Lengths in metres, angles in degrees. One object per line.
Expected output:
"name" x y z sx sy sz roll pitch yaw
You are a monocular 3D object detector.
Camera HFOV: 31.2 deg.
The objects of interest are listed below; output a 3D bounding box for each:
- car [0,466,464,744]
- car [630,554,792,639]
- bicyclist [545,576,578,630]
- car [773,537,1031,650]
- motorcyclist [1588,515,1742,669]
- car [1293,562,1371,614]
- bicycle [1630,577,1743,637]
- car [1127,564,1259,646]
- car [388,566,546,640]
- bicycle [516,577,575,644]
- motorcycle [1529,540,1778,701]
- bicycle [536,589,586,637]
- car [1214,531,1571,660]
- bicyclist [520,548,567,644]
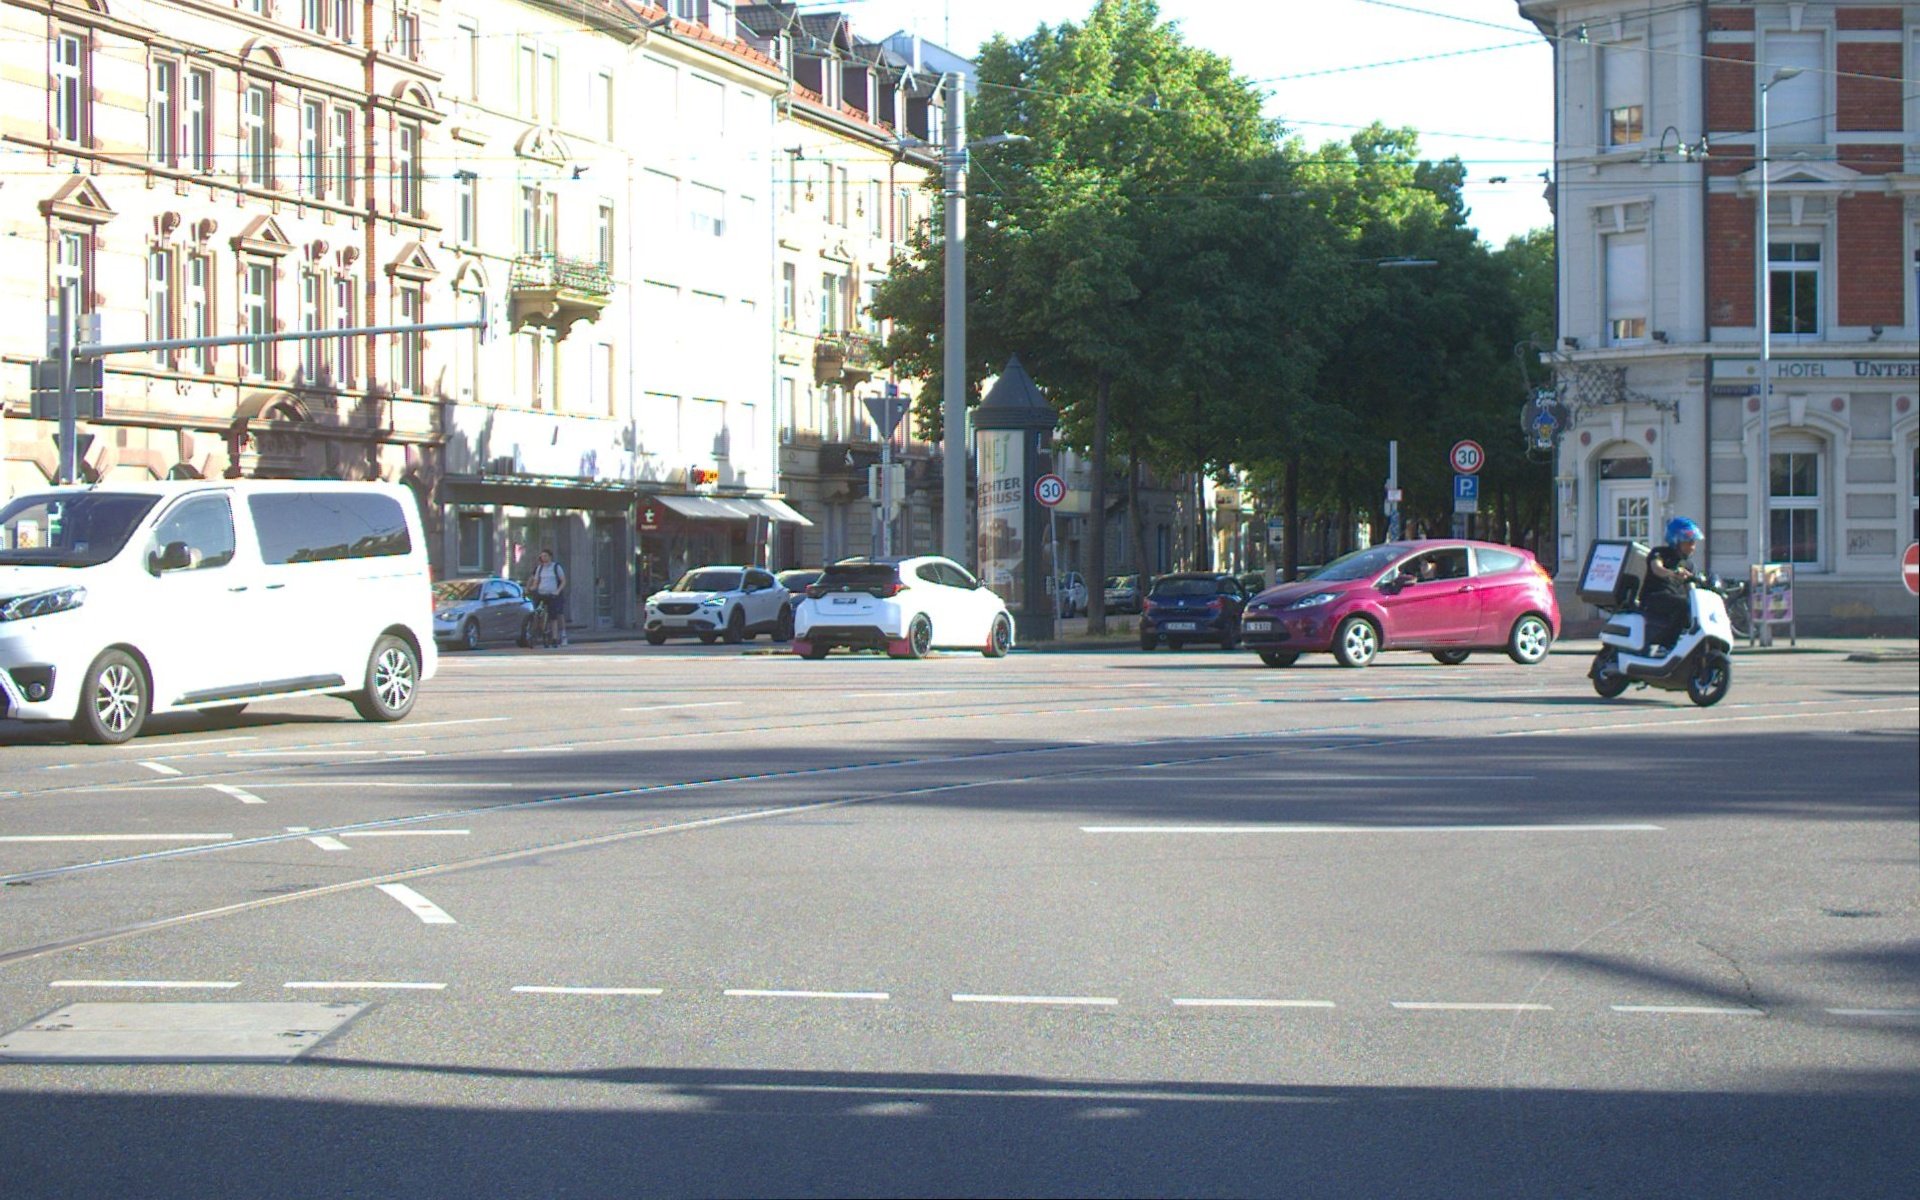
"car" -6.055 -0.030 25.644 1.996 1.847 5.208 2 2 27
"car" -4.833 -0.087 67.280 1.804 1.579 4.156 1 1 17
"bicyclist" -7.820 0.056 67.452 0.473 1.036 0.537 1 0 15
"car" -0.763 -0.118 48.211 1.895 1.449 4.002 0 2 28
"motorcyclist" 6.045 -0.072 29.505 0.786 1.296 1.018 1 1 -34
"car" 12.630 -0.418 116.612 1.995 1.678 3.997 1 1 15
"bicycle" 12.073 0.108 57.121 1.804 0.959 0.603 1 0 14
"car" 4.241 0.069 62.131 1.826 1.398 3.998 0 1 12
"car" -9.597 0.038 67.187 1.661 1.369 3.889 1 1 15
"bicycle" -7.853 0.194 65.192 0.565 1.250 1.556 1 0 14
"motorcycle" 5.915 0.157 29.456 0.794 1.329 2.142 1 1 -33
"bicycle" -7.821 0.252 67.444 0.473 0.919 1.451 1 1 14
"car" 5.005 -0.074 39.738 3.869 1.421 1.596 0 2 -28
"bicyclist" -7.885 -0.074 65.088 0.565 1.797 0.913 1 0 15
